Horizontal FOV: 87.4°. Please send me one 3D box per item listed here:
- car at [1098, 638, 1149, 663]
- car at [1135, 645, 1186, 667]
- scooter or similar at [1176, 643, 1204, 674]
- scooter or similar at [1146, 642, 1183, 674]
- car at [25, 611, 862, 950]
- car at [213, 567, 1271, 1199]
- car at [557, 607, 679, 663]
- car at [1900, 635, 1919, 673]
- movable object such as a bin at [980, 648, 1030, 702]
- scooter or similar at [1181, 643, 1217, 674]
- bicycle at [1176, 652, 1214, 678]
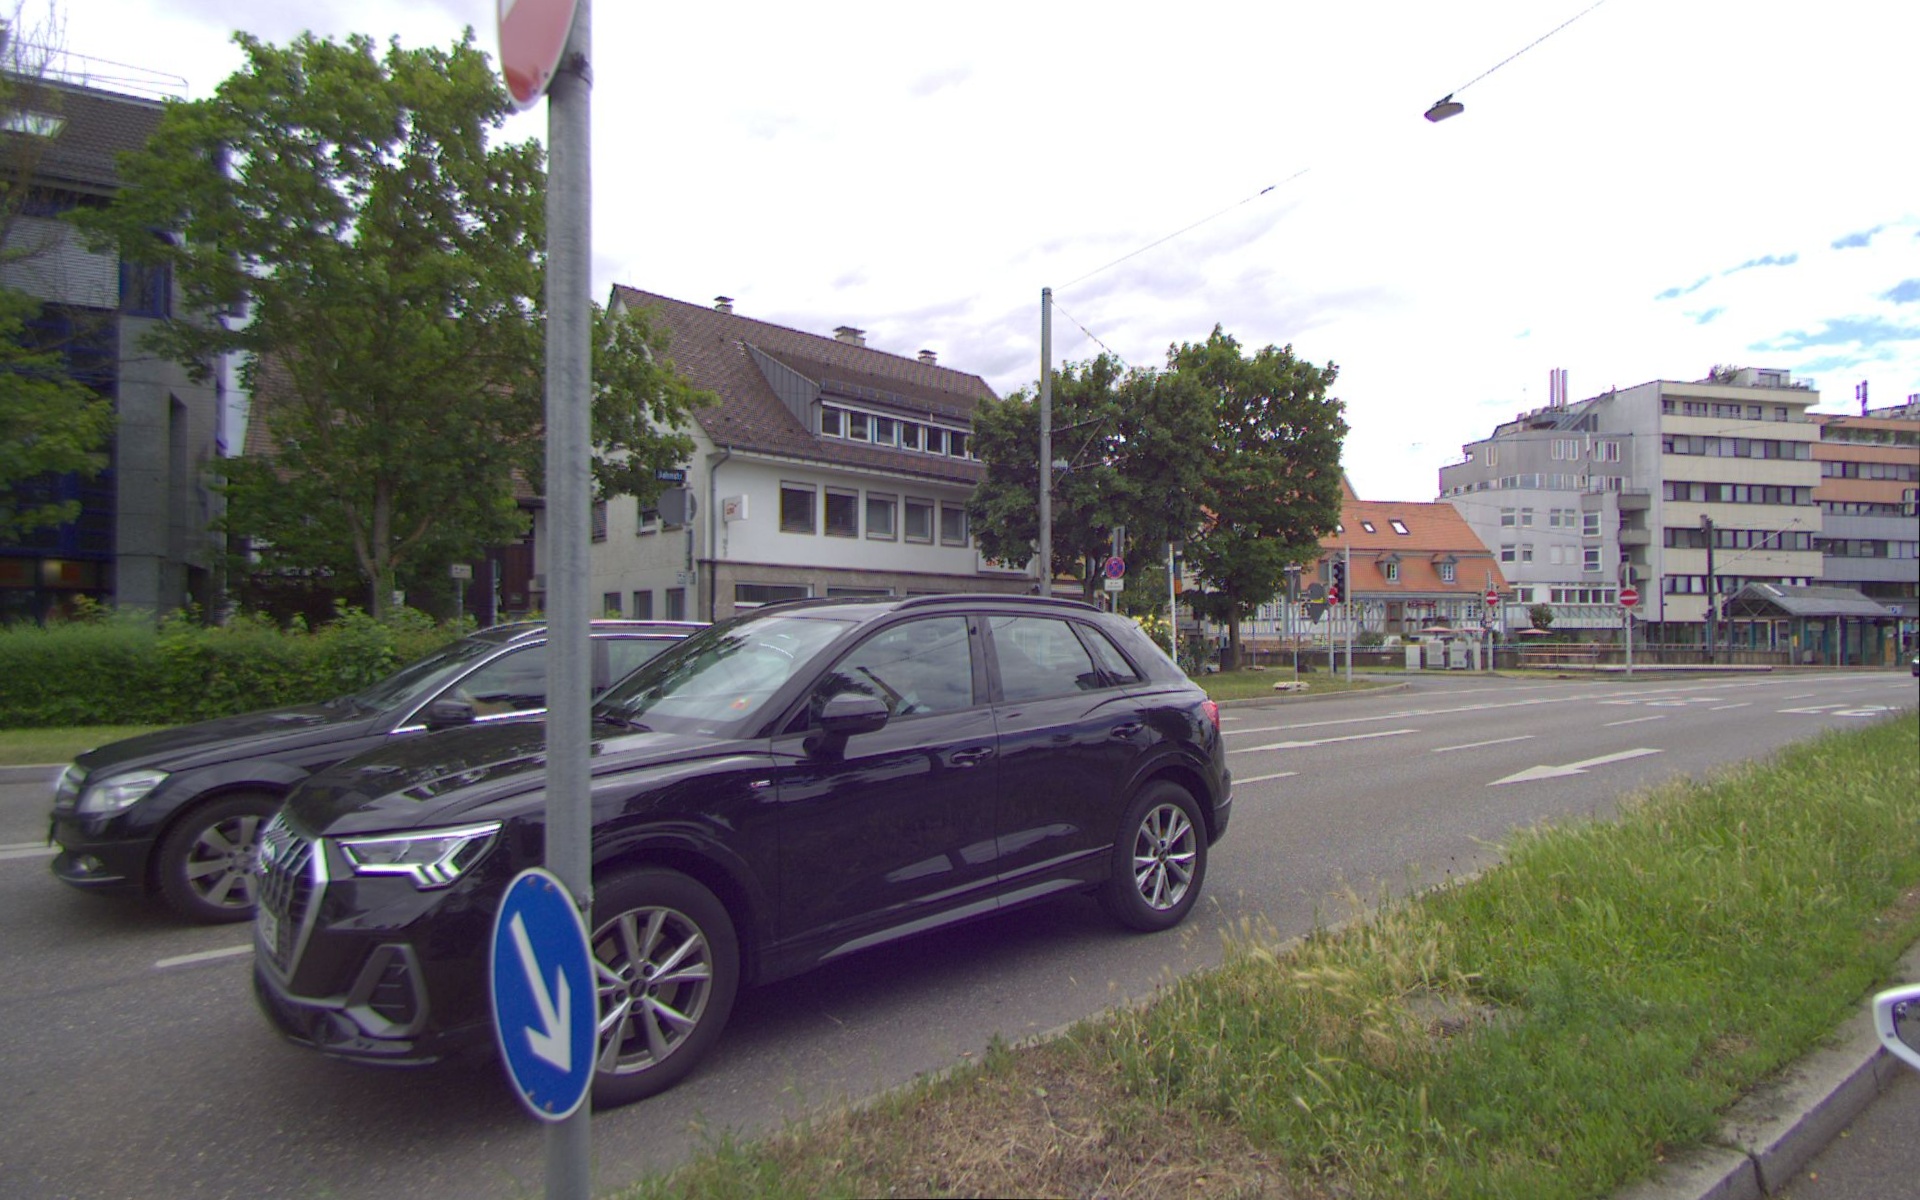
[{"bbox_3d":[9.774,3.006,60.402,1.793,1.399,4.678,1,-2,-8],"label":"car"},{"bbox_3d":[12.797,3.575,64.232,1.951,1.312,3.905,1,-2,-10],"label":"car"},{"bbox_3d":[8.215,2.079,35.852,0.981,1.100,0.420,2,-2,-34],"label":"scooter or similar"},{"bbox_3d":[7.137,2.010,35.050,1.162,1.100,0.599,1,-2,-29],"label":"scooter or similar"},{"bbox_3d":[-2.931,0.811,6.451,4.358,1.445,1.769,0,0,-39],"label":"car"},{"bbox_3d":[-0.608,0.722,4.553,4.361,1.585,1.872,0,0,-41],"label":"car"},{"bbox_3d":[-9.729,0.934,28.429,1.845,1.445,3.952,0,0,-42],"label":"car"},{"bbox_3d":[39.399,2.159,40.071,4.565,1.474,1.787,2,-2,-34],"label":"car"},{"bbox_3d":[0.907,1.489,20.109,0.831,1.026,0.559,1,-1,-38],"label":"movable object such as a bin"},{"bbox_3d":[8.195,2.005,34.431,1.160,1.059,0.488,1,-2,-26],"label":"scooter or similar"},{"bbox_3d":[7.641,2.118,32.740,0.420,0.815,1.250,2,-2,-35],"label":"bicycle"}]
